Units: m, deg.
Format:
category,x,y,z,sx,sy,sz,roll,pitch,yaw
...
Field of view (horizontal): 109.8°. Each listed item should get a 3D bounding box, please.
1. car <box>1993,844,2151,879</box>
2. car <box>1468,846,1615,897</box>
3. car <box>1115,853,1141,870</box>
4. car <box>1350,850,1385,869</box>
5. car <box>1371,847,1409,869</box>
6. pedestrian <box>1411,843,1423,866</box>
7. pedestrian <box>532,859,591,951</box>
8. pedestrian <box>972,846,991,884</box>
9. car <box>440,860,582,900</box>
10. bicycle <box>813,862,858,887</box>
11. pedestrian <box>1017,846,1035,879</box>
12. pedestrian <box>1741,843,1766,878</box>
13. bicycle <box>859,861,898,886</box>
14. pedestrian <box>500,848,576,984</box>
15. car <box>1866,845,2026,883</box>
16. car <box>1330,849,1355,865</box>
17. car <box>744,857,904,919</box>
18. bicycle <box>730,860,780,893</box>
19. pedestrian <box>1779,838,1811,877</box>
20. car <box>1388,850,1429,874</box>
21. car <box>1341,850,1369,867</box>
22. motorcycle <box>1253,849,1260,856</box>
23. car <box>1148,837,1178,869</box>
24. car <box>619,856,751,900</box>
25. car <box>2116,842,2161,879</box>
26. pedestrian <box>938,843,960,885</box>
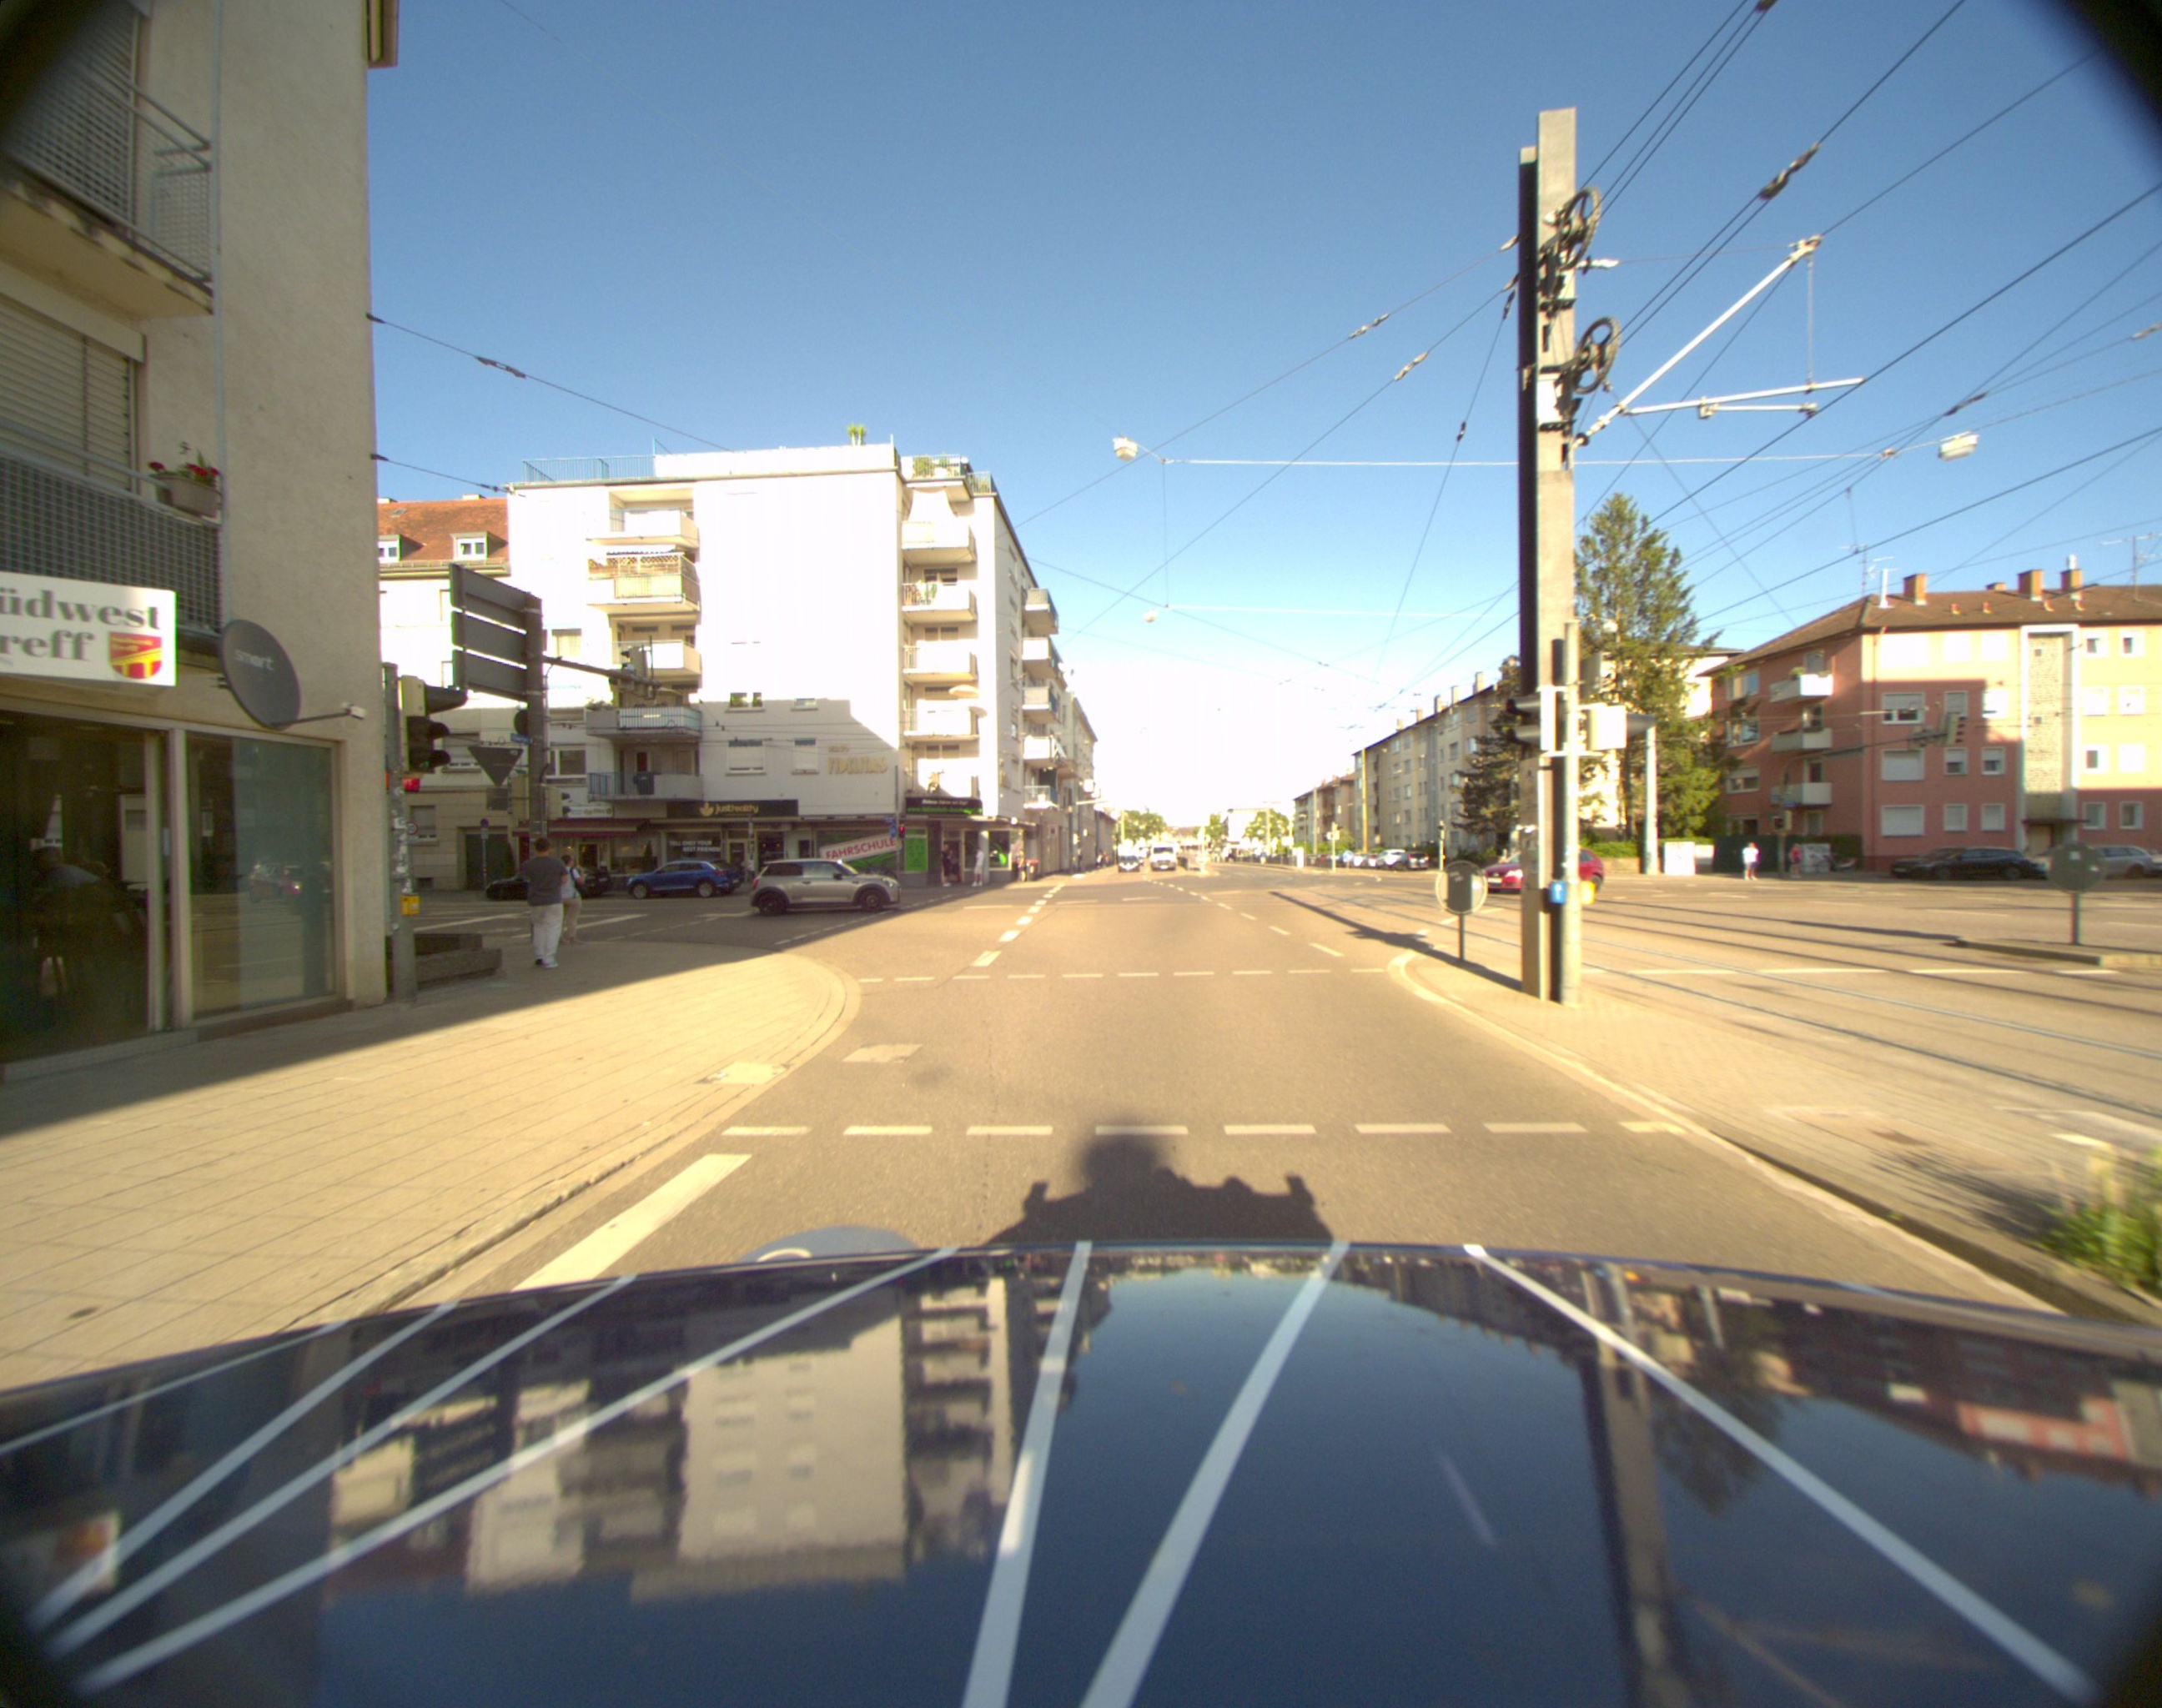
category,x,y,z,sx,sy,sz,roll,pitch,yaw
car,43.139,0.292,33.175,4.098,1.429,1.909,0,3,5
car,14.256,0.516,23.569,3.831,1.477,1.782,0,0,-17
car,3.952,0.596,63.163,1.881,1.405,3.932,0,0,8
car,26.128,0.460,69.338,1.832,1.470,4.032,-1,2,3
car,25.839,0.312,63.662,1.771,1.589,4.033,0,3,5
pedestrian,28.231,0.030,63.822,0.699,1.876,0.781,0,3,8
pedestrian,-9.490,0.922,13.887,0.731,1.613,0.542,1,-3,28
pedestrian,-4.638,0.512,35.608,0.661,1.782,0.738,-1,1,10
car,-22.888,1.045,30.613,4.441,1.467,1.774,0,3,4
bicycle,-11.008,0.933,34.073,1.795,1.082,0.608,0,3,3
pedestrian,-2.828,0.417,38.802,0.760,1.641,0.700,3,-1,-11
pedestrian,30.086,0.284,33.998,0.573,1.560,0.518,0,3,4
bicycle,-9.111,0.868,34.202,1.537,1.100,0.553,0,3,5
pedestrian,-7.351,0.790,10.277,0.689,1.732,1.038,0,1,-44
car,38.148,0.410,33.613,4.436,1.424,2.160,1,3,2
car,27.232,0.267,79.194,1.558,1.517,3.646,0,3,5
car,-6.710,0.857,20.255,3.818,1.417,1.726,-2,2,-12
bicycle,-13.429,0.923,31.331,1.795,1.307,0.608,0,3,3
pedestrian,32.201,0.131,34.275,0.705,1.712,0.782,-2,3,-24
car,25.162,0.599,58.551,1.869,1.619,4.073,0,3,7
car,26.896,0.432,74.744,1.660,1.549,3.788,0,3,5
motorcycle,28.039,-0.262,121.509,0.856,1.041,1.942,0,3,8
car,6.863,-0.150,63.438,2.339,2.504,4.855,0,3,8
car,-15.619,0.923,30.128,4.234,1.495,1.774,-1,3,1
car,48.100,0.280,32.776,4.225,1.518,1.747,0,3,3
pedestrian,-6.044,0.432,34.751,0.737,1.889,0.575,2,2,21
